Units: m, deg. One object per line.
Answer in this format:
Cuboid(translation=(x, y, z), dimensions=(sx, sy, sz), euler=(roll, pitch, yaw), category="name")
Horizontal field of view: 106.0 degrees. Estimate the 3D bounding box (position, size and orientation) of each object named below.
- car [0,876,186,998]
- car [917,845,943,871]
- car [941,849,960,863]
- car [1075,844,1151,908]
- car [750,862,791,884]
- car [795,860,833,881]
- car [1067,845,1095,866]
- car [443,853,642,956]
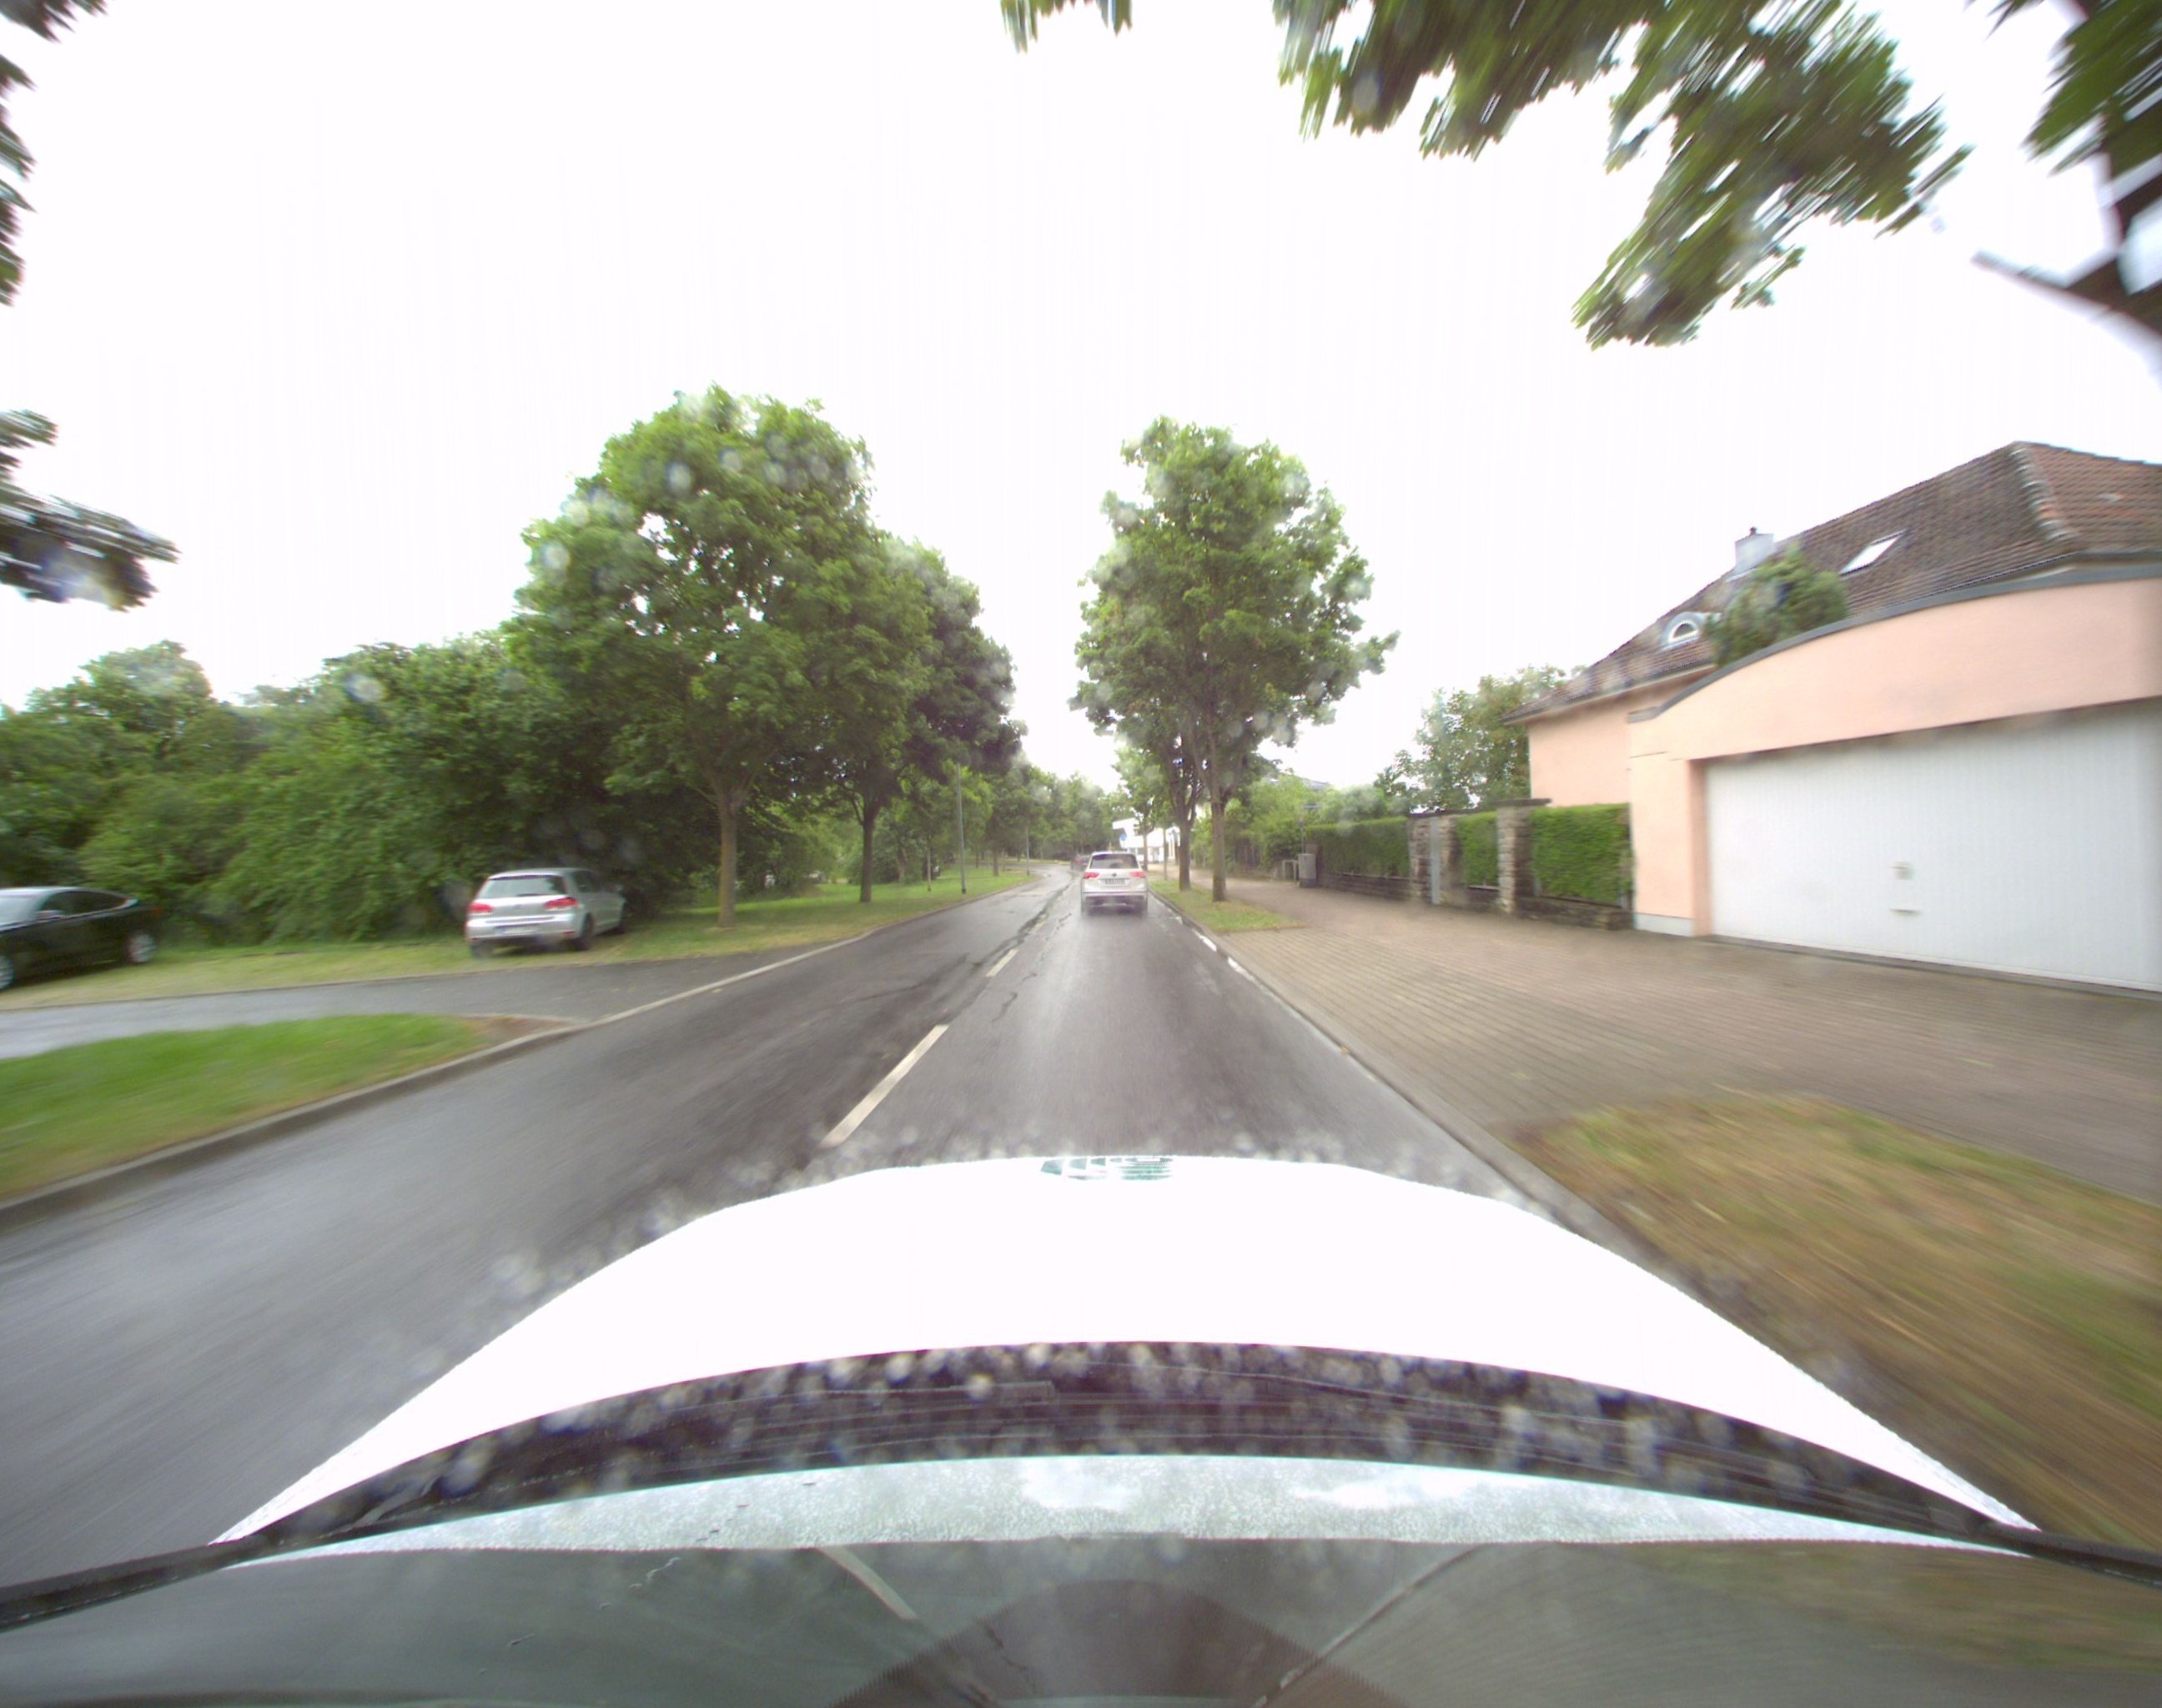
Cuboid(translation=(-16.925, 1.287, 12.838), dimensions=(1.869, 1.508, 4.574), euler=(-3, 3, -21), category="car")
Cuboid(translation=(-14.112, 0.303, 76.312), dimensions=(2.127, 1.985, 5.458), euler=(-4, 4, -9), category="car")
Cuboid(translation=(-19.379, 0.350, 120.600), dimensions=(1.908, 2.013, 3.916), euler=(0, 0, -22), category="car")
Cuboid(translation=(0.922, 0.552, 23.277), dimensions=(1.966, 1.652, 4.180), euler=(-1, 1, 2), category="car")
Cuboid(translation=(-24.573, 1.470, 64.629), dimensions=(1.850, 1.581, 4.344), euler=(-3, 0, -5), category="car")
Cuboid(translation=(-21.148, 1.307, 64.686), dimensions=(1.788, 1.537, 4.992), euler=(-3, -1, -6), category="car")
Cuboid(translation=(-0.026, 0.147, 80.539), dimensions=(1.903, 2.013, 3.927), euler=(0, 0, -13), category="car")
Cuboid(translation=(-9.928, 0.814, 15.431), dimensions=(1.885, 1.429, 4.194), euler=(-3, 3, -16), category="car")
